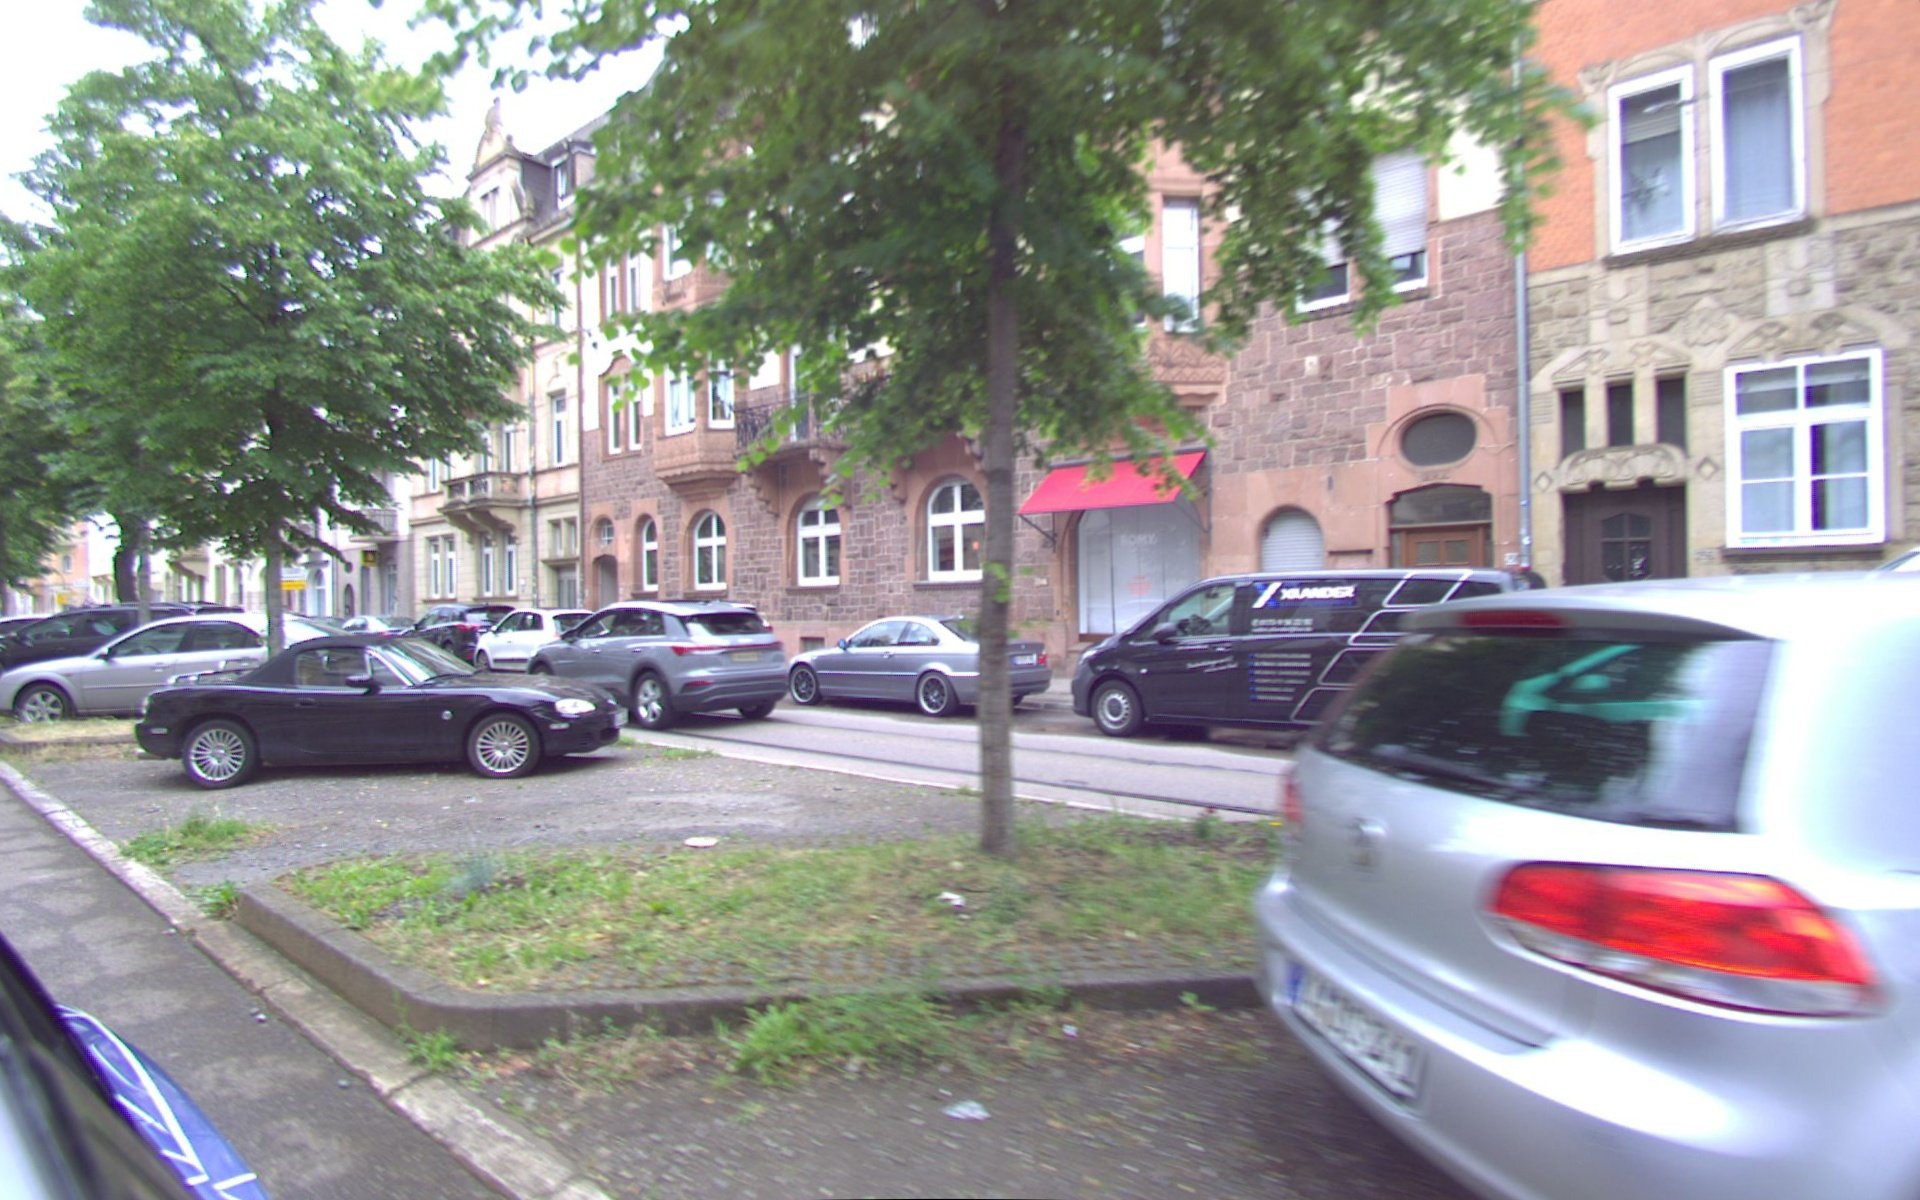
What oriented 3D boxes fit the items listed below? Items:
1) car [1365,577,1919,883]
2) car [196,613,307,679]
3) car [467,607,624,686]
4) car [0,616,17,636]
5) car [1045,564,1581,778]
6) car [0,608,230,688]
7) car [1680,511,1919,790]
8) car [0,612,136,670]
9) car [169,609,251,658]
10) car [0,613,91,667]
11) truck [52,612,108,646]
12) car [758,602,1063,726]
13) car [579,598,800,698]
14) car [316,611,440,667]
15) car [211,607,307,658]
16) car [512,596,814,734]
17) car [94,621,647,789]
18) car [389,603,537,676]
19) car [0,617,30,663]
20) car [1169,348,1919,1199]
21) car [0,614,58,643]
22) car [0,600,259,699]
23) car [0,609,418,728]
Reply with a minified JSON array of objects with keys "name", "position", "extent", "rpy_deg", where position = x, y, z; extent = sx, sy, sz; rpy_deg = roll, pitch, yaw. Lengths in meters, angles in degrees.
[{"name":"car","position":[4.988,0.643,5.890],"extent":[4.619,1.515,1.627],"rpy_deg":[-1,0,40]},{"name":"car","position":[-17.627,1.090,25.140],"extent":[2.890,1.526,1.588],"rpy_deg":[-1,0,40]},{"name":"car","position":[-9.083,0.948,22.077],"extent":[3.720,1.571,1.645],"rpy_deg":[-1,0,40]},{"name":"car","position":[-80.911,2.177,85.128],"extent":[4.508,1.617,1.773],"rpy_deg":[-1,0,39]},{"name":"car","position":[3.516,0.608,10.817],"extent":[5.114,1.795,1.795],"rpy_deg":[-1,0,40]},{"name":"car","position":[-17.836,0.946,20.570],"extent":[4.472,1.501,2.038],"rpy_deg":[-1,0,-5]},{"name":"car","position":[8.259,0.340,7.104],"extent":[5.090,1.967,1.862],"rpy_deg":[-1,0,40]},{"name":"car","position":[-23.399,1.022,25.233],"extent":[4.066,1.322,1.866],"rpy_deg":[-2,0,-6]},{"name":"car","position":[-30.766,1.338,41.452],"extent":[4.429,1.885,1.831],"rpy_deg":[-1,-1,42]},{"name":"car","position":[-28.839,1.198,29.992],"extent":[4.497,1.504,1.865],"rpy_deg":[-1,0,-3]},{"name":"truck","position":[-53.087,1.719,61.010],"extent":[6.066,1.870,2.121],"rpy_deg":[-1,0,45]},{"name":"car","position":[-0.856,0.829,14.908],"extent":[4.551,1.553,1.723],"rpy_deg":[-1,0,40]},{"name":"car","position":[-5.131,0.808,18.865],"extent":[4.551,1.639,1.723],"rpy_deg":[-1,0,40]},{"name":"car","position":[-16.786,1.068,29.110],"extent":[4.227,1.449,1.786],"rpy_deg":[-1,0,40]},{"name":"car","position":[-25.080,1.122,36.147],"extent":[4.270,1.692,1.786],"rpy_deg":[-1,0,40]},{"name":"car","position":[-4.193,0.769,13.893],"extent":[4.543,1.591,1.786],"rpy_deg":[-1,0,40]},{"name":"car","position":[-4.954,0.845,8.974],"extent":[3.902,1.211,1.670],"rpy_deg":[-1,0,-5]},{"name":"car","position":[-12.423,0.930,25.192],"extent":[4.317,1.641,1.751],"rpy_deg":[-1,0,40]},{"name":"car","position":[-36.821,1.462,36.845],"extent":[4.140,1.621,1.728],"rpy_deg":[0,0,-8]},{"name":"car","position":[2.731,0.464,2.178],"extent":[4.052,1.495,1.800],"rpy_deg":[-1,0,-8]},{"name":"car","position":[-49.708,1.497,53.966],"extent":[4.649,1.464,1.786],"rpy_deg":[-1,0,40]},{"name":"car","position":[-15.509,0.850,18.234],"extent":[4.464,1.645,1.767],"rpy_deg":[-1,0,-5]},{"name":"car","position":[-10.077,0.858,13.607],"extent":[4.596,1.378,1.760],"rpy_deg":[-1,0,-6]}]
